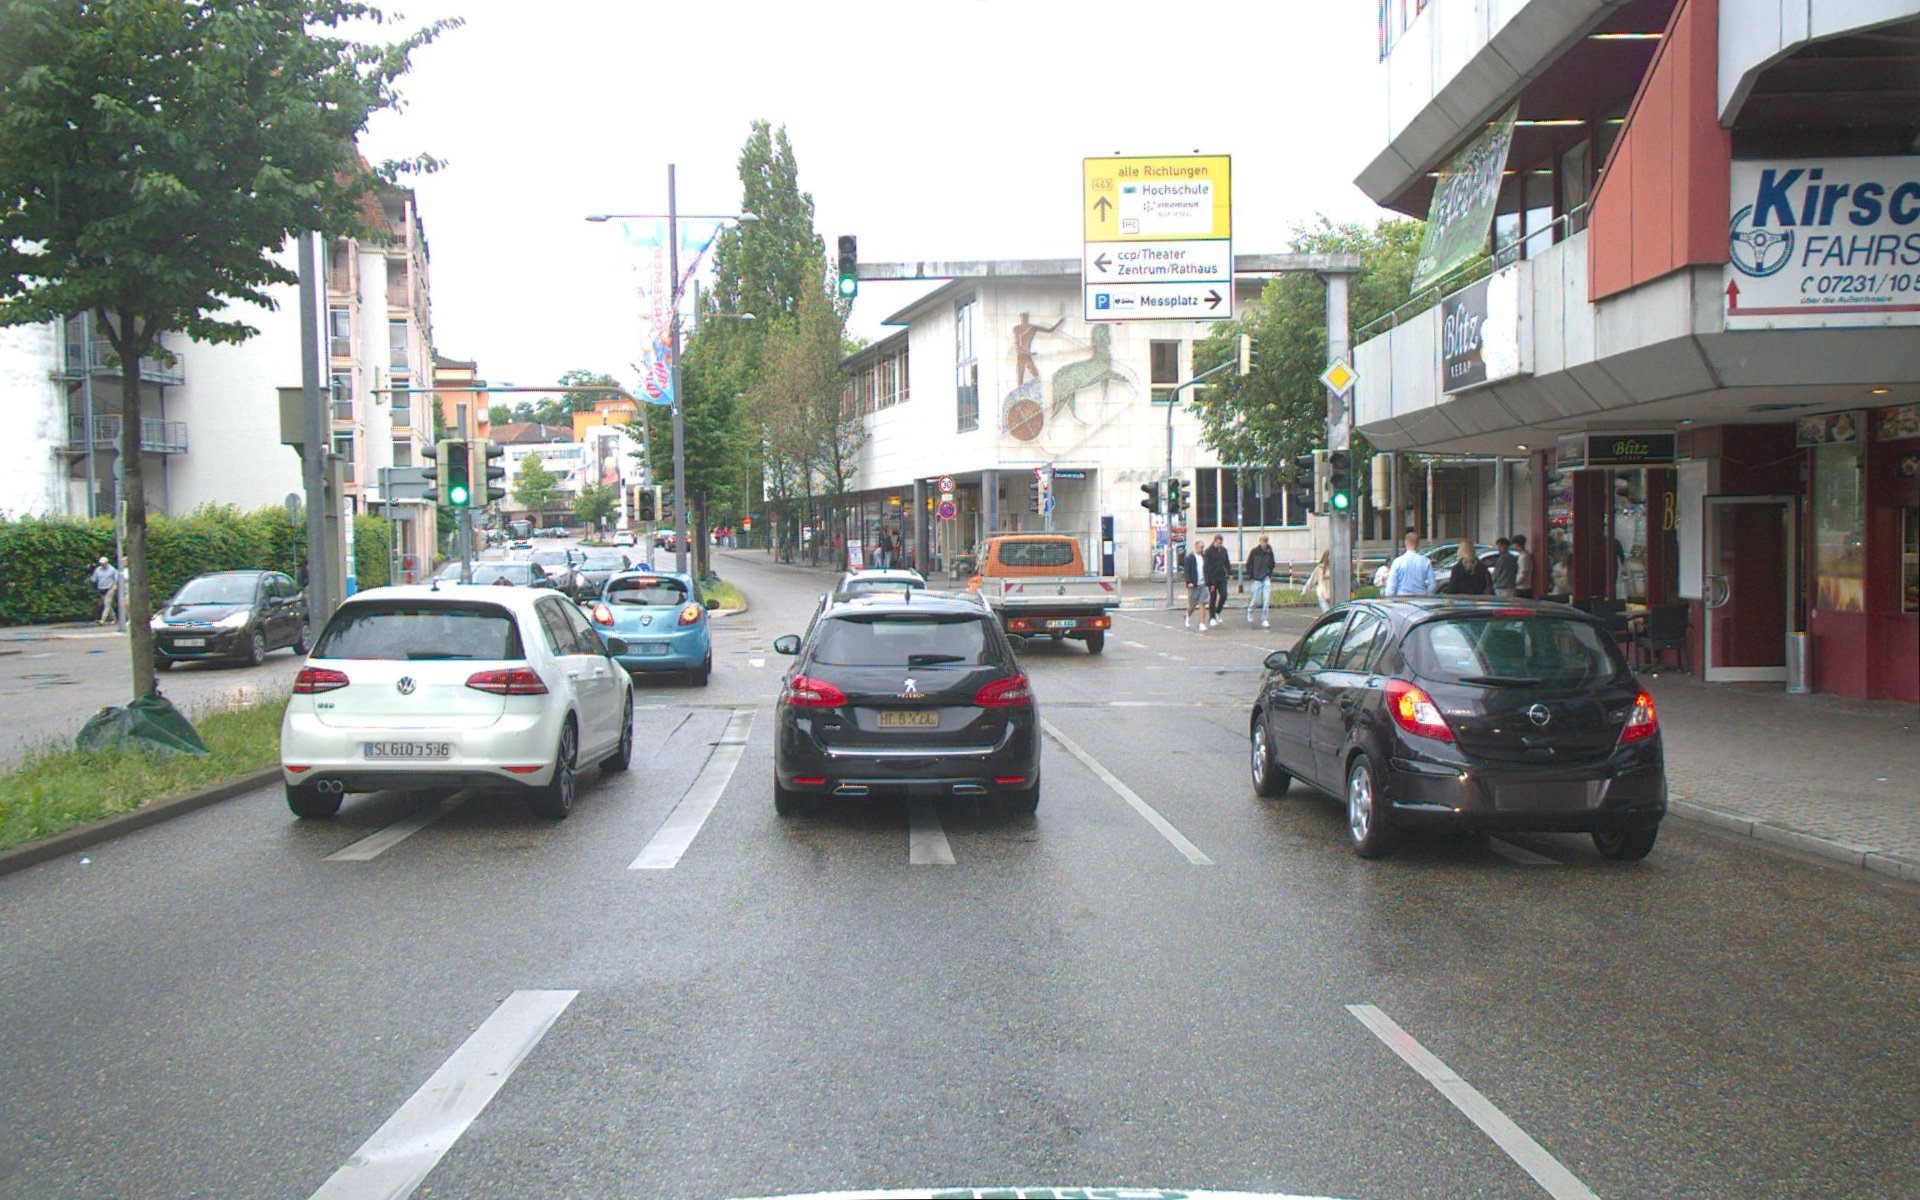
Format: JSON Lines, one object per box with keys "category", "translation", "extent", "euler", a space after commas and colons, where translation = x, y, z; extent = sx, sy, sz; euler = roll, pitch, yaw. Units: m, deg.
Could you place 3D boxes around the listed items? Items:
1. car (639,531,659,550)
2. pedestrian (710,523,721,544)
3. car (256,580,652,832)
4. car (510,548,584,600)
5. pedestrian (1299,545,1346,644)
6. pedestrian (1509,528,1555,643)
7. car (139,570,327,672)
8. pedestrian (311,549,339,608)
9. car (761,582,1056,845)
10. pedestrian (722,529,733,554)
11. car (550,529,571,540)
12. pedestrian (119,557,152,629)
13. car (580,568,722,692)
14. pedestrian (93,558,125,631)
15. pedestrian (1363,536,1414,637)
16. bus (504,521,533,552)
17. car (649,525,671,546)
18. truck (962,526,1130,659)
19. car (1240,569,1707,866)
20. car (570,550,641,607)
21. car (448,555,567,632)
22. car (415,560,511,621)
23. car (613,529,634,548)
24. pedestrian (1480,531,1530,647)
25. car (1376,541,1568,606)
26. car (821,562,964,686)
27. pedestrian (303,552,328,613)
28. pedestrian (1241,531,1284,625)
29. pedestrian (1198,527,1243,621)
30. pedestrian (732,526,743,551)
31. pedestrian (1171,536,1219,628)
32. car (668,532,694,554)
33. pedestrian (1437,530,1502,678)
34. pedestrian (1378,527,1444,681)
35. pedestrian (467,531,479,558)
{"category": "car", "translation": [-29.036, -5.531, 154.381], "extent": [1.617, 1.591, 3.585], "euler": [1, 0, -15]}
{"category": "pedestrian", "translation": [-19.263, -5.258, 130.195], "extent": [0.705, 1.647, 0.766], "euler": [-3, 3, -15]}
{"category": "car", "translation": [-3.342, 0.605, 11.722], "extent": [1.730, 1.434, 3.998], "euler": [1, 1, -3]}
{"category": "car", "translation": [-14.765, -0.961, 59.330], "extent": [1.791, 1.766, 4.308], "euler": [-2, 2, -4]}
{"category": "pedestrian", "translation": [6.404, -0.106, 29.231], "extent": [0.562, 1.691, 0.940], "euler": [-3, 2, -1]}
{"category": "pedestrian", "translation": [9.036, -0.232, 26.147], "extent": [0.515, 1.794, 0.511], "euler": [-1, 0, -2]}
{"category": "car", "translation": [-12.274, 0.294, 28.188], "extent": [1.586, 1.517, 3.877], "euler": [-3, 1, -3]}
{"category": "pedestrian", "translation": [-19.460, -0.663, 50.702], "extent": [0.629, 1.795, 0.591], "euler": [-1, -1, -7]}
{"category": "car", "translation": [-0.334, 0.662, 11.903], "extent": [1.758, 1.509, 4.000], "euler": [0, 1, -1]}
{"category": "pedestrian", "translation": [-17.513, -4.389, 124.377], "extent": [0.643, 1.797, 0.919], "euler": [-3, 3, -15]}
{"category": "car", "translation": [-60.363, -9.905, 249.799], "extent": [1.634, 1.591, 3.548], "euler": [1, -1, -39]}
{"category": "pedestrian", "translation": [-20.776, -0.173, 41.698], "extent": [0.516, 1.795, 0.592], "euler": [2, 1, -5]}
{"category": "car", "translation": [-4.194, 0.344, 22.908], "extent": [1.663, 1.500, 3.685], "euler": [-1, 2, -7]}
{"category": "pedestrian", "translation": [-21.446, -0.146, 41.685], "extent": [0.516, 1.795, 0.592], "euler": [1, 2, -5]}
{"category": "pedestrian", "translation": [7.569, -0.254, 29.228], "extent": [0.576, 1.735, 0.971], "euler": [-3, 2, -1]}
{"category": "bus", "translation": [-49.910, -7.231, 186.743], "extent": [2.700, 3.128, 12.184], "euler": [-2, 4, -17]}
{"category": "car", "translation": [-25.876, -5.555, 142.572], "extent": [1.617, 1.591, 3.585], "euler": [1, 0, -15]}
{"category": "truck", "translation": [1.374, -0.190, 28.698], "extent": [2.082, 2.060, 4.709], "euler": [-2, 2, -7]}
{"category": "car", "translation": [3.027, 0.583, 10.583], "extent": [1.674, 1.482, 3.741], "euler": [0, 2, -3]}
{"category": "car", "translation": [-10.748, -0.683, 50.390], "extent": [1.591, 1.582, 3.657], "euler": [-2, 2, -5]}
{"category": "car", "translation": [-9.861, -0.179, 36.307], "extent": [1.679, 1.504, 3.955], "euler": [-3, 1, -4]}
{"category": "car", "translation": [-13.750, -0.294, 45.929], "extent": [1.639, 1.541, 3.642], "euler": [-3, 2, -3]}
{"category": "car", "translation": [-30.731, -5.586, 150.878], "extent": [1.617, 1.591, 3.585], "euler": [1, 0, -15]}
{"category": "pedestrian", "translation": [8.498, -0.171, 25.784], "extent": [0.583, 1.794, 0.492], "euler": [-1, 0, -2]}
{"category": "car", "translation": [12.425, -0.676, 40.181], "extent": [4.190, 1.444, 1.780], "euler": [-2, 2, -16]}
{"category": "car", "translation": [-1.051, 0.269, 23.691], "extent": [1.760, 1.509, 3.996], "euler": [-2, 2, -6]}
{"category": "pedestrian", "translation": [-19.154, -0.505, 49.148], "extent": [0.516, 1.795, 0.630], "euler": [-1, -1, -7]}
{"category": "pedestrian", "translation": [6.302, -0.457, 34.491], "extent": [0.718, 1.928, 0.676], "euler": [-1, 0, -4]}
{"category": "pedestrian", "translation": [5.442, -0.547, 34.596], "extent": [0.743, 1.934, 0.789], "euler": [-1, 0, -3]}
{"category": "pedestrian", "translation": [-16.760, -4.645, 124.556], "extent": [0.687, 1.832, 0.604], "euler": [-3, 3, -16]}
{"category": "pedestrian", "translation": [4.759, -0.362, 33.525], "extent": [0.734, 1.810, 0.887], "euler": [-1, 0, -7]}
{"category": "car", "translation": [-21.595, -4.388, 127.879], "extent": [1.617, 1.591, 3.585], "euler": [1, 0, -15]}
{"category": "pedestrian", "translation": [6.338, 0.050, 20.592], "extent": [0.609, 1.804, 0.677], "euler": [-1, 0, 3]}
{"category": "pedestrian", "translation": [5.642, 0.050, 20.721], "extent": [0.609, 1.879, 0.848], "euler": [-1, 0, 3]}
{"category": "pedestrian", "translation": [-34.018, -3.876, 115.547], "extent": [0.686, 1.825, 0.956], "euler": [-1, 2, -12]}
